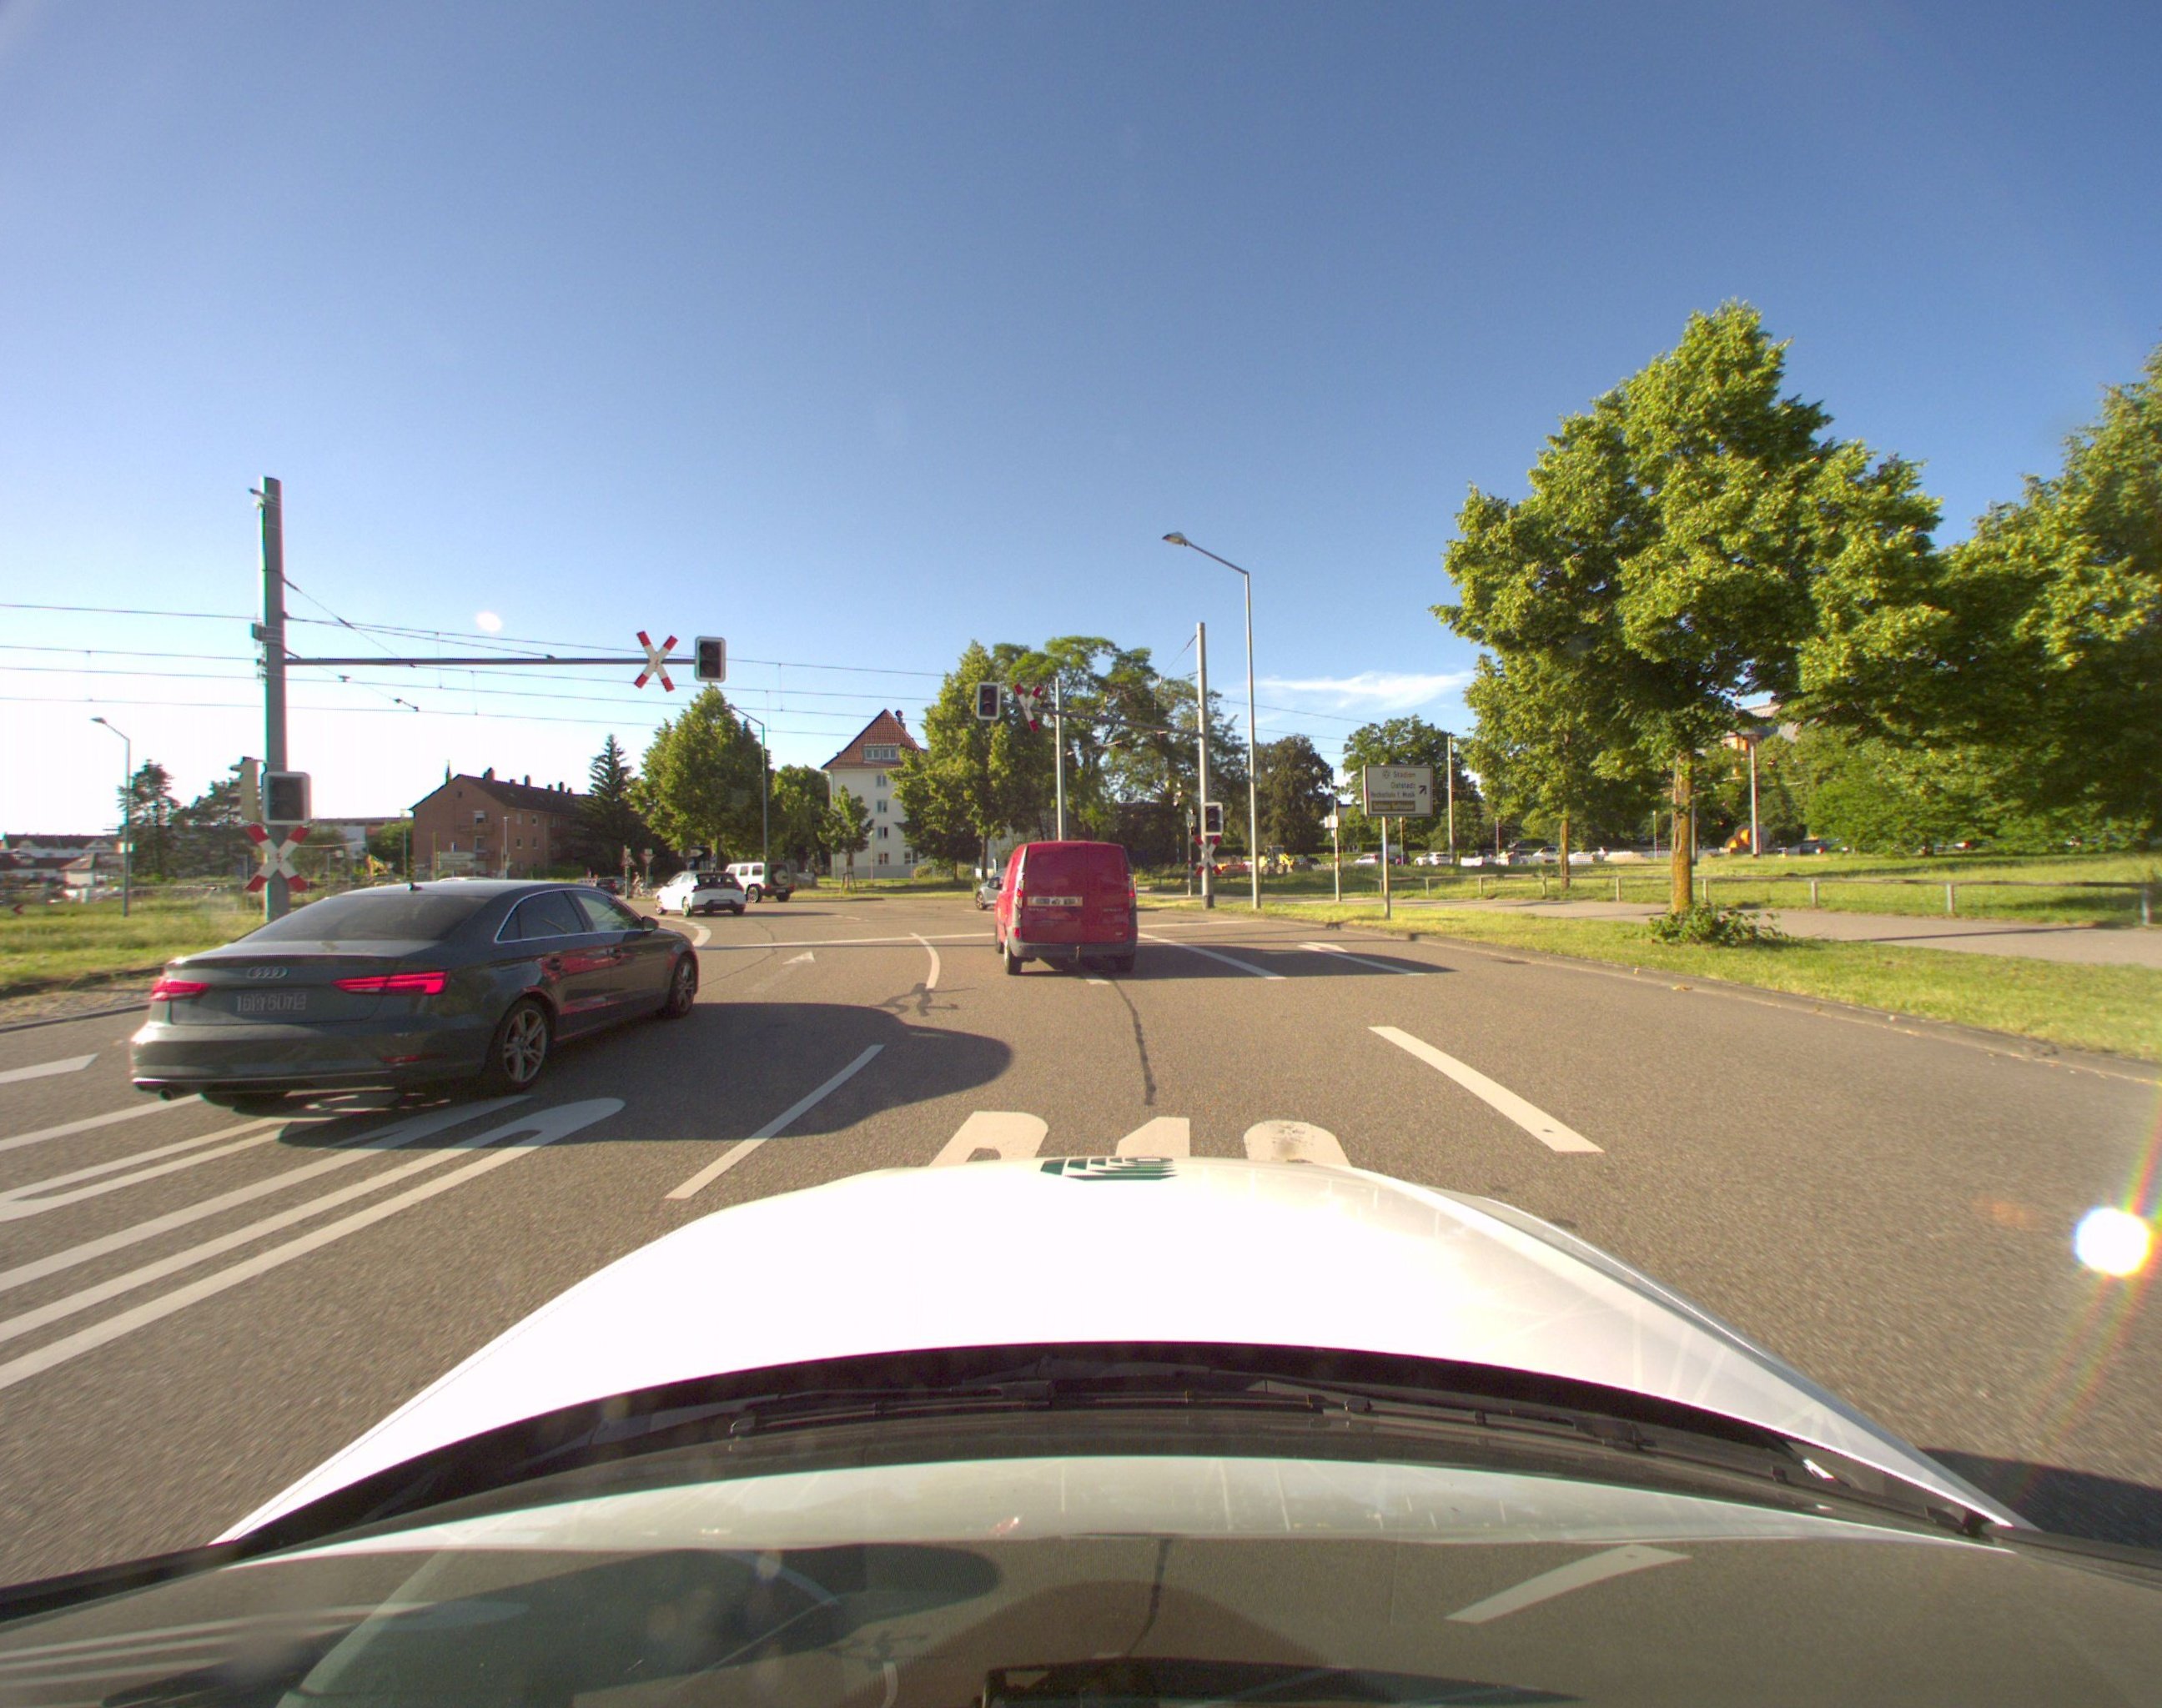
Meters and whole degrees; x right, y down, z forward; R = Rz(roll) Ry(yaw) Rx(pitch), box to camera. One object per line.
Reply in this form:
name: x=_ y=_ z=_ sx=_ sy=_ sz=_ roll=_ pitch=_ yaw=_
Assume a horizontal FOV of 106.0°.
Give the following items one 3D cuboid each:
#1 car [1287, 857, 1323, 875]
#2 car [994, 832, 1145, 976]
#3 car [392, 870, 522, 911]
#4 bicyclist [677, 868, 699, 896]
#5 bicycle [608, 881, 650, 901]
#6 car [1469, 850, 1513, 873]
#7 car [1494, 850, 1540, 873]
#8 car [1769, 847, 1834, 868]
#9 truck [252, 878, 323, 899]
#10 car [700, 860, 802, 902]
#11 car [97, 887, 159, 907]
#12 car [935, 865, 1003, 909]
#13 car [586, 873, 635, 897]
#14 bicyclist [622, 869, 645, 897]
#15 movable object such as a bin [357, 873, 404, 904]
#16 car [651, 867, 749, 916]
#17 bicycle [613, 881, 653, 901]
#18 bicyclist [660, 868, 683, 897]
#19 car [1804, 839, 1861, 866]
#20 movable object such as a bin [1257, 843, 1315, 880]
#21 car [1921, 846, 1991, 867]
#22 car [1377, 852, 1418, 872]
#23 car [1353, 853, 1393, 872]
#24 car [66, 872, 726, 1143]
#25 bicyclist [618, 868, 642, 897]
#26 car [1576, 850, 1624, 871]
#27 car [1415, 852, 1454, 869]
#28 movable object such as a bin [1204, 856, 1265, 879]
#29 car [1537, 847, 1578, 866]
car: x=21.116 y=1.152 z=76.961 sx=1.918 sy=1.557 sz=3.939 roll=0 pitch=-3 yaw=-8
car: x=-0.335 y=0.643 z=12.249 sx=1.802 sy=1.813 sz=3.798 roll=0 pitch=0 yaw=-8
car: x=-26.138 y=1.527 z=34.170 sx=4.362 sy=1.575 sz=2.008 roll=-1 pitch=0 yaw=14
bicyclist: x=-26.047 y=1.878 z=54.020 sx=1.016 sy=1.853 sz=0.814 roll=-1 pitch=-3 yaw=9
bicycle: x=-29.633 y=2.421 z=53.398 sx=2.195 sy=1.266 sz=0.884 roll=-1 pitch=-3 yaw=0
car: x=40.437 y=0.781 z=80.438 sx=1.992 sy=2.100 sz=3.988 roll=0 pitch=-3 yaw=-8
car: x=43.324 y=0.770 z=80.953 sx=1.992 sy=2.100 sz=3.988 roll=0 pitch=-3 yaw=-8
car: x=64.376 y=0.340 z=72.812 sx=1.992 sy=1.756 sz=3.988 roll=0 pitch=-3 yaw=-8
truck: x=-82.276 y=3.587 z=84.467 sx=6.368 sy=2.014 sz=2.179 roll=-1 pitch=-3 yaw=14
car: x=-15.873 y=1.291 z=39.079 sx=4.692 sy=1.897 sz=2.016 roll=-2 pitch=-2 yaw=29
car: x=-98.535 y=4.400 z=84.221 sx=4.459 sy=2.014 sz=2.004 roll=-1 pitch=-3 yaw=8
car: x=-4.058 y=1.142 z=29.008 sx=1.718 sy=1.436 sz=4.126 roll=0 pitch=-1 yaw=-18
car: x=-38.861 y=2.558 z=67.358 sx=1.990 sy=1.872 sz=3.992 roll=0 pitch=-3 yaw=-5
bicyclist: x=-30.052 y=1.953 z=54.662 sx=1.019 sy=1.853 sz=0.884 roll=-1 pitch=-3 yaw=0
movable object such as a bin: x=-64.900 y=3.176 z=75.431 sx=3.948 sy=2.774 sz=2.442 roll=-3 pitch=-3 yaw=38
car: x=-12.373 y=1.180 z=26.367 sx=1.818 sy=1.461 sz=3.763 roll=2 pitch=-3 yaw=-43
bicycle: x=-30.048 y=2.480 z=54.638 sx=2.195 sy=1.266 sz=0.884 roll=-1 pitch=-3 yaw=0
bicyclist: x=-26.633 y=1.839 z=52.956 sx=1.016 sy=1.853 sz=0.814 roll=-1 pitch=-3 yaw=9
car: x=79.697 y=-0.100 z=86.430 sx=1.992 sy=2.653 sz=3.988 roll=0 pitch=-3 yaw=-8
movable object such as a bin: x=16.213 y=0.650 z=64.731 sx=1.999 sy=2.789 sz=5.015 roll=0 pitch=-3 yaw=-19
car: x=79.774 y=0.225 z=74.325 sx=1.907 sy=1.756 sz=3.988 roll=0 pitch=-3 yaw=-8
car: x=30.655 y=0.809 z=78.983 sx=1.992 sy=1.769 sz=3.988 roll=0 pitch=-3 yaw=-8
car: x=28.424 y=0.875 z=79.338 sx=1.992 sy=1.723 sz=3.988 roll=0 pitch=-3 yaw=-8
car: x=-4.584 y=0.854 z=6.529 sx=1.756 sy=1.380 sz=4.353 roll=-1 pitch=-1 yaw=-3
bicyclist: x=-29.573 y=1.894 z=53.425 sx=1.019 sy=1.853 sz=0.884 roll=-1 pitch=-3 yaw=0
car: x=52.708 y=0.698 z=82.749 sx=1.992 sy=1.959 sz=3.988 roll=0 pitch=-3 yaw=-8
car: x=34.646 y=0.669 z=79.857 sx=1.825 sy=1.556 sz=3.797 roll=0 pitch=-3 yaw=-6
movable object such as a bin: x=13.996 y=1.249 z=74.265 sx=5.016 sy=1.948 sz=2.227 roll=0 pitch=-3 yaw=-16
car: x=47.898 y=0.293 z=81.952 sx=1.686 sy=1.779 sz=3.840 roll=0 pitch=-3 yaw=-5
